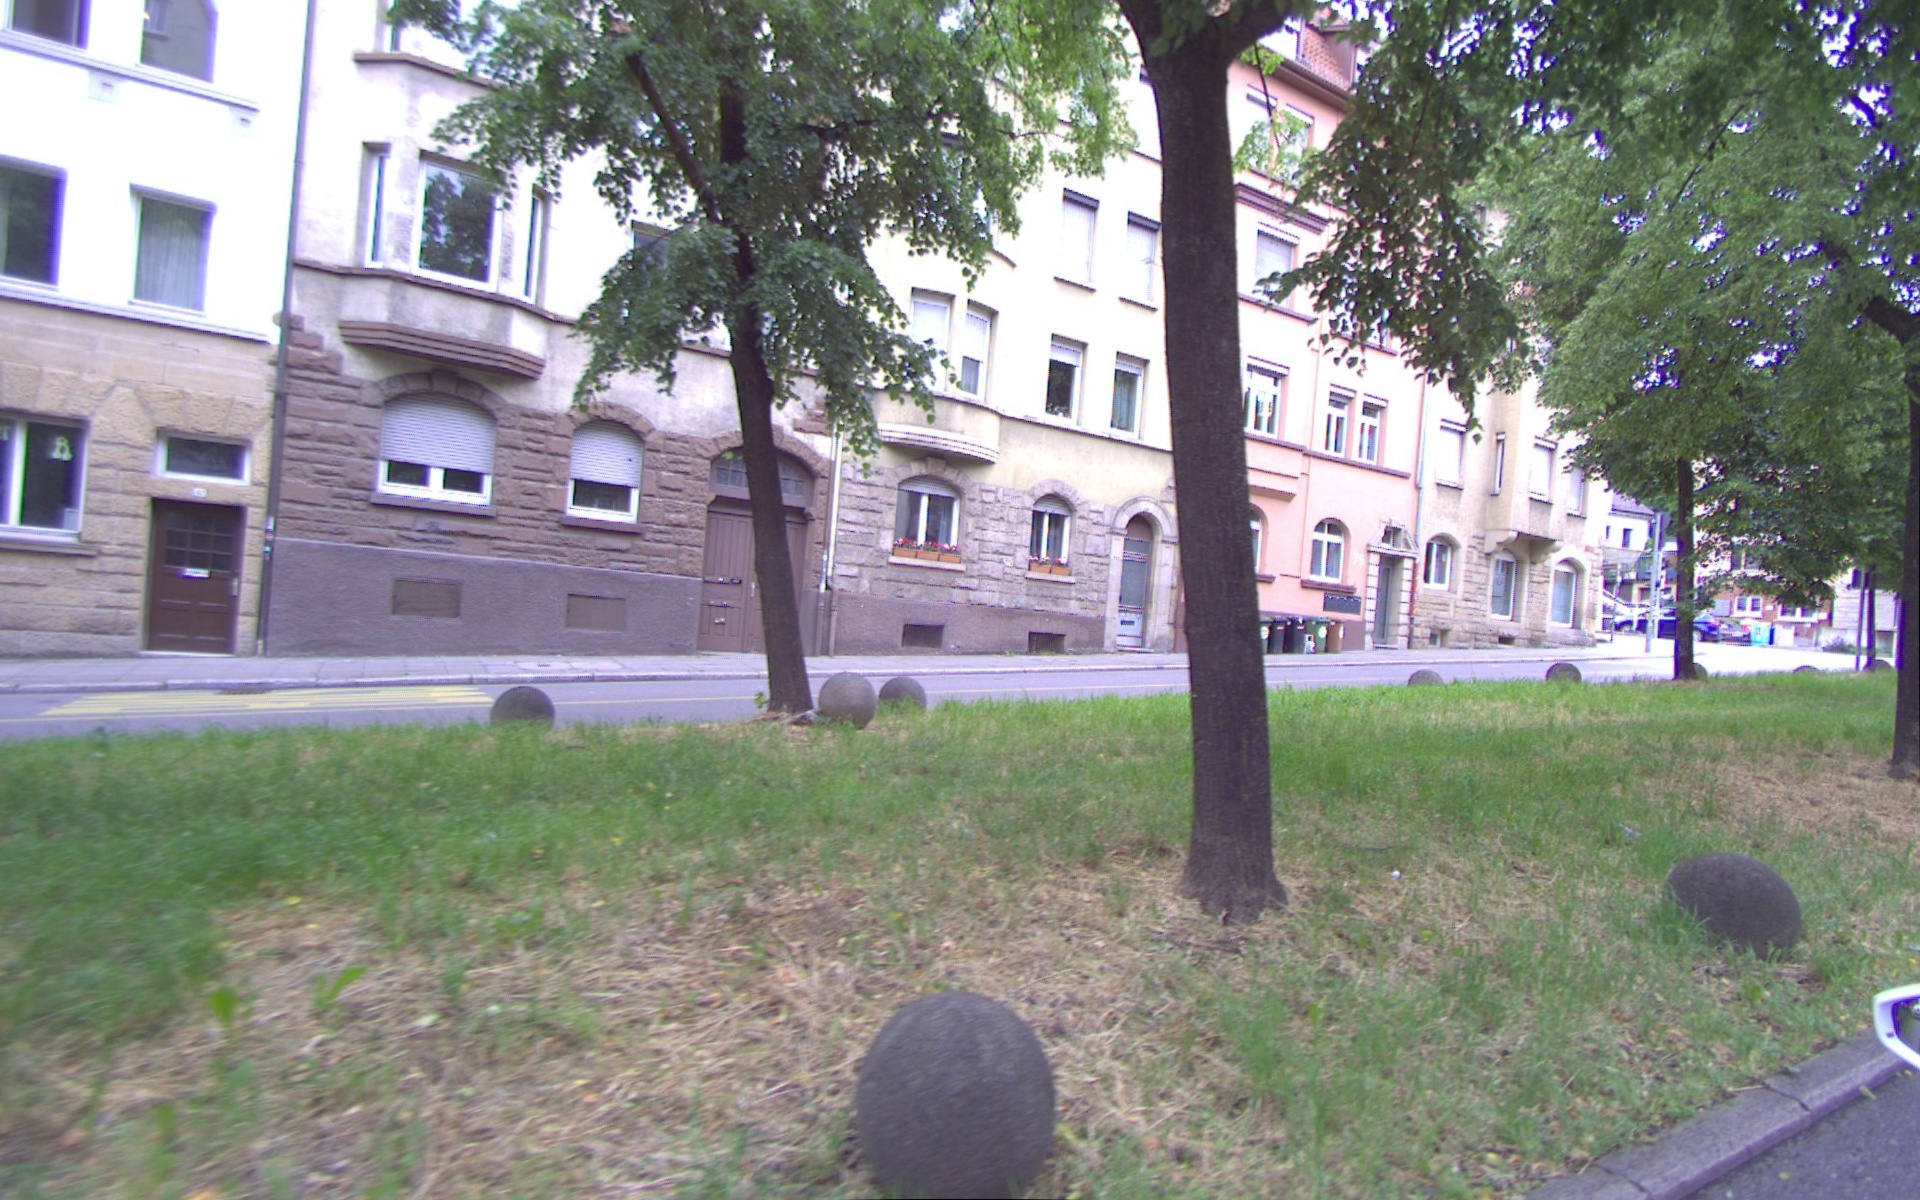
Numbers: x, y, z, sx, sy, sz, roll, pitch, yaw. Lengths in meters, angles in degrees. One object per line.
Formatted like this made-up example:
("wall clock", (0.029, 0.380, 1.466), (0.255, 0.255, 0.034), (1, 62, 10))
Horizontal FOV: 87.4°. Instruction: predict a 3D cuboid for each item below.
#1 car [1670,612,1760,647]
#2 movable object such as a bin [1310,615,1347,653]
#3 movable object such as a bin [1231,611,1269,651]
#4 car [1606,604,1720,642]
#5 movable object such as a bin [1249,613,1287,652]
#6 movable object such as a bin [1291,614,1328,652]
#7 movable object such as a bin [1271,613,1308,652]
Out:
("car", (40.038, 1.529, 53.415), (1.845, 1.687, 4.001), (3, 0, 3))
("movable object such as a bin", (9.481, 0.869, 25.843), (0.595, 0.916, 0.605), (2, 2, -34))
("movable object such as a bin", (7.062, 0.756, 24.442), (0.595, 0.916, 0.605), (2, 2, -34))
("car", (32.956, 1.046, 47.166), (4.158, 1.530, 1.790), (4, 2, 43))
("movable object such as a bin", (7.596, 0.791, 24.771), (0.595, 0.916, 0.605), (2, 2, -34))
("movable object such as a bin", (8.889, 0.839, 25.571), (0.595, 0.916, 0.605), (2, 2, -34))
("movable object such as a bin", (8.229, 0.815, 25.102), (0.595, 0.916, 0.605), (2, 2, -34))
